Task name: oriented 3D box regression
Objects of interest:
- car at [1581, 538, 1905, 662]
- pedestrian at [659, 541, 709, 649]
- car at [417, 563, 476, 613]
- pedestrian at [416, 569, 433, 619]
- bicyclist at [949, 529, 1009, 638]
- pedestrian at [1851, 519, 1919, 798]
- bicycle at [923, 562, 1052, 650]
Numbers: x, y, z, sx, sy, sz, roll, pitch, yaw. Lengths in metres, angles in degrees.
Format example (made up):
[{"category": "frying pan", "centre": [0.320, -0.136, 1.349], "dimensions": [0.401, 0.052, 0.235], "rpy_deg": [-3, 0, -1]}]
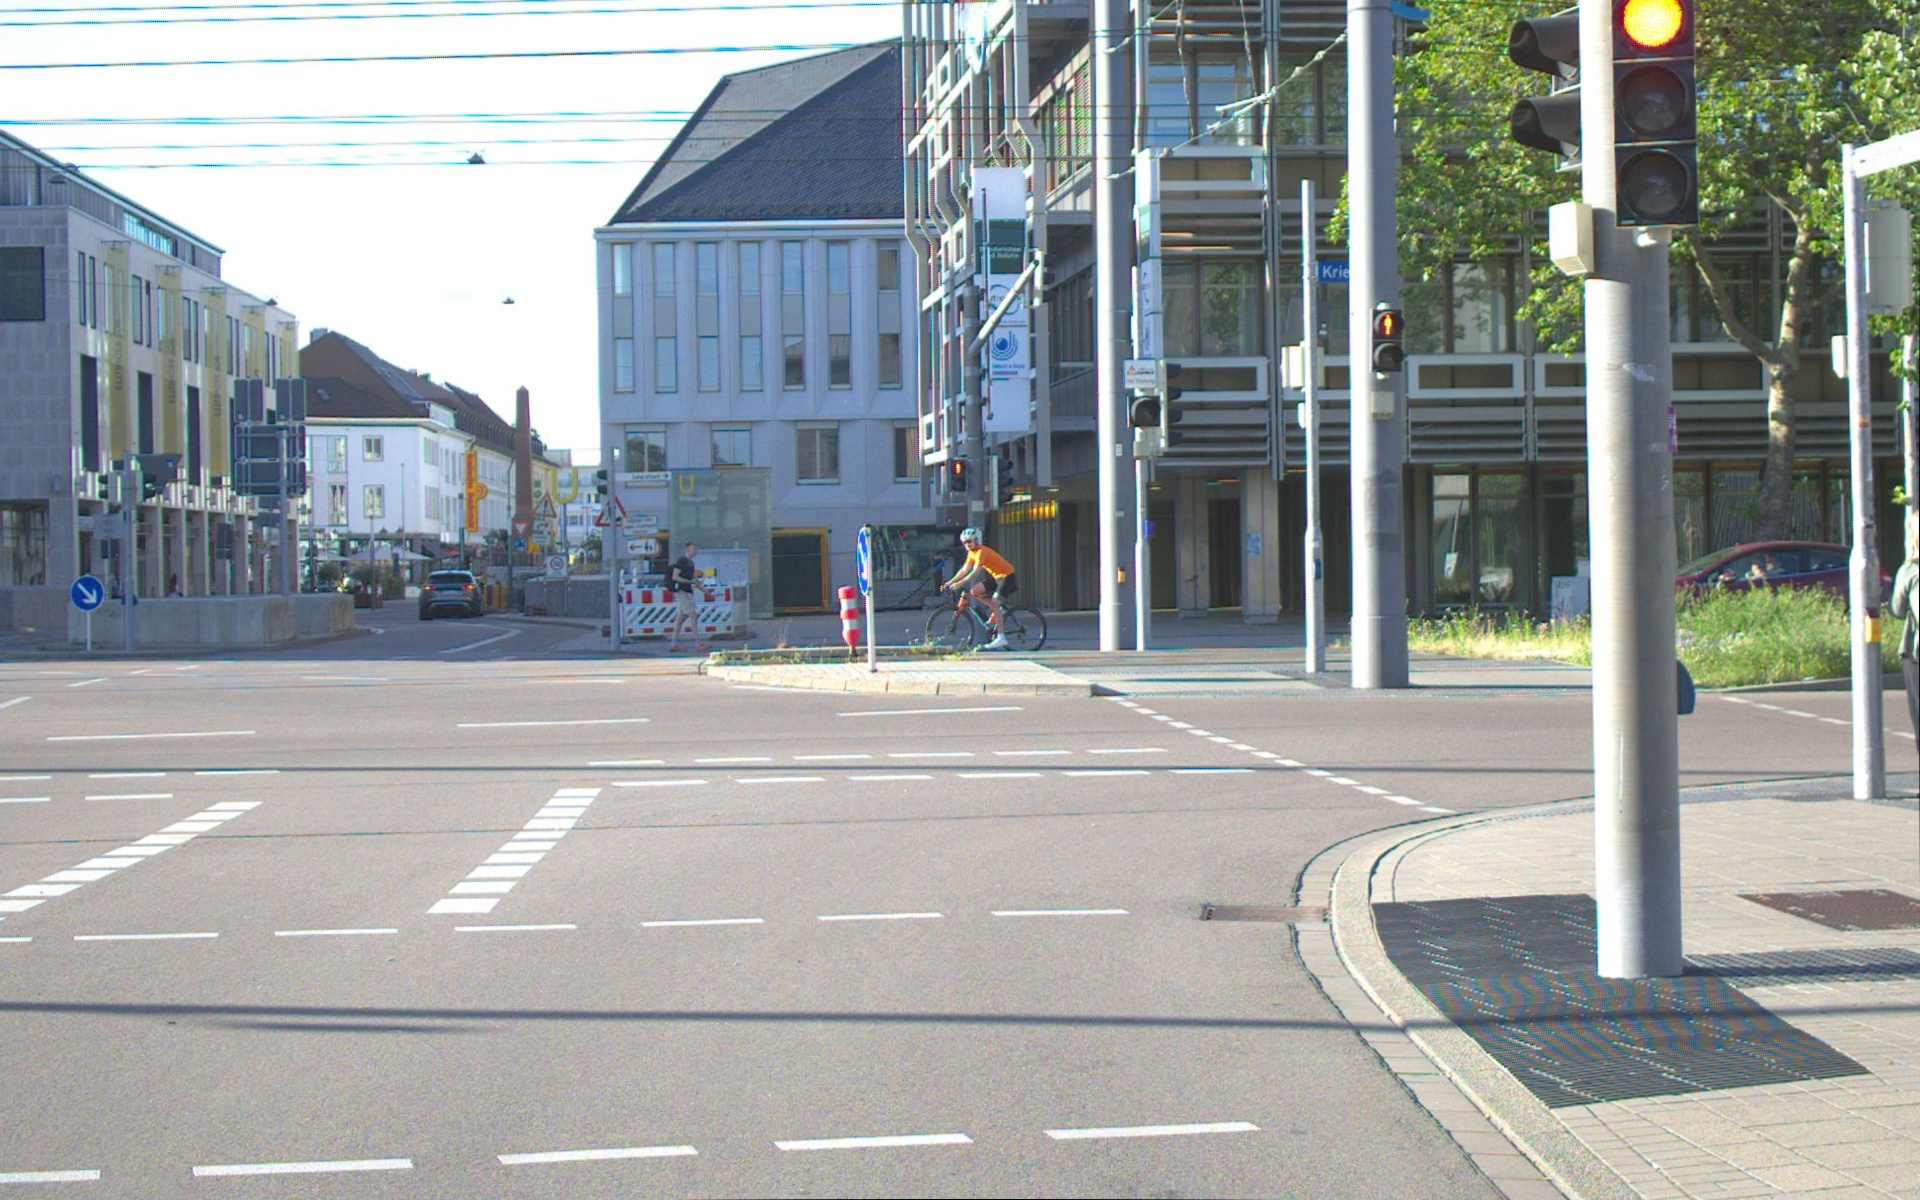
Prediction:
[{"category": "car", "centre": [10.464, -0.009, 46.087], "dimensions": [3.884, 1.579, 1.660], "rpy_deg": [-1, 1, -7]}, {"category": "pedestrian", "centre": [-4.837, -0.091, 60.318], "dimensions": [0.642, 1.883, 0.790], "rpy_deg": [1, 0, 14]}, {"category": "car", "centre": [-16.143, -0.380, 108.207], "dimensions": [1.737, 1.525, 3.856], "rpy_deg": [1, 1, -7]}, {"category": "pedestrian", "centre": [-18.244, -0.203, 117.141], "dimensions": [0.521, 1.674, 0.583], "rpy_deg": [1, 1, -7]}, {"category": "bicyclist", "centre": [0.255, -0.219, 45.882], "dimensions": [0.711, 1.432, 0.497], "rpy_deg": [1, 0, -9]}, {"category": "pedestrian", "centre": [5.333, 0.315, 18.676], "dimensions": [0.788, 1.487, 0.644], "rpy_deg": [1, 0, -1]}, {"category": "bicycle", "centre": [0.361, 0.084, 45.904], "dimensions": [1.644, 1.150, 0.497], "rpy_deg": [1, 0, -9]}]
